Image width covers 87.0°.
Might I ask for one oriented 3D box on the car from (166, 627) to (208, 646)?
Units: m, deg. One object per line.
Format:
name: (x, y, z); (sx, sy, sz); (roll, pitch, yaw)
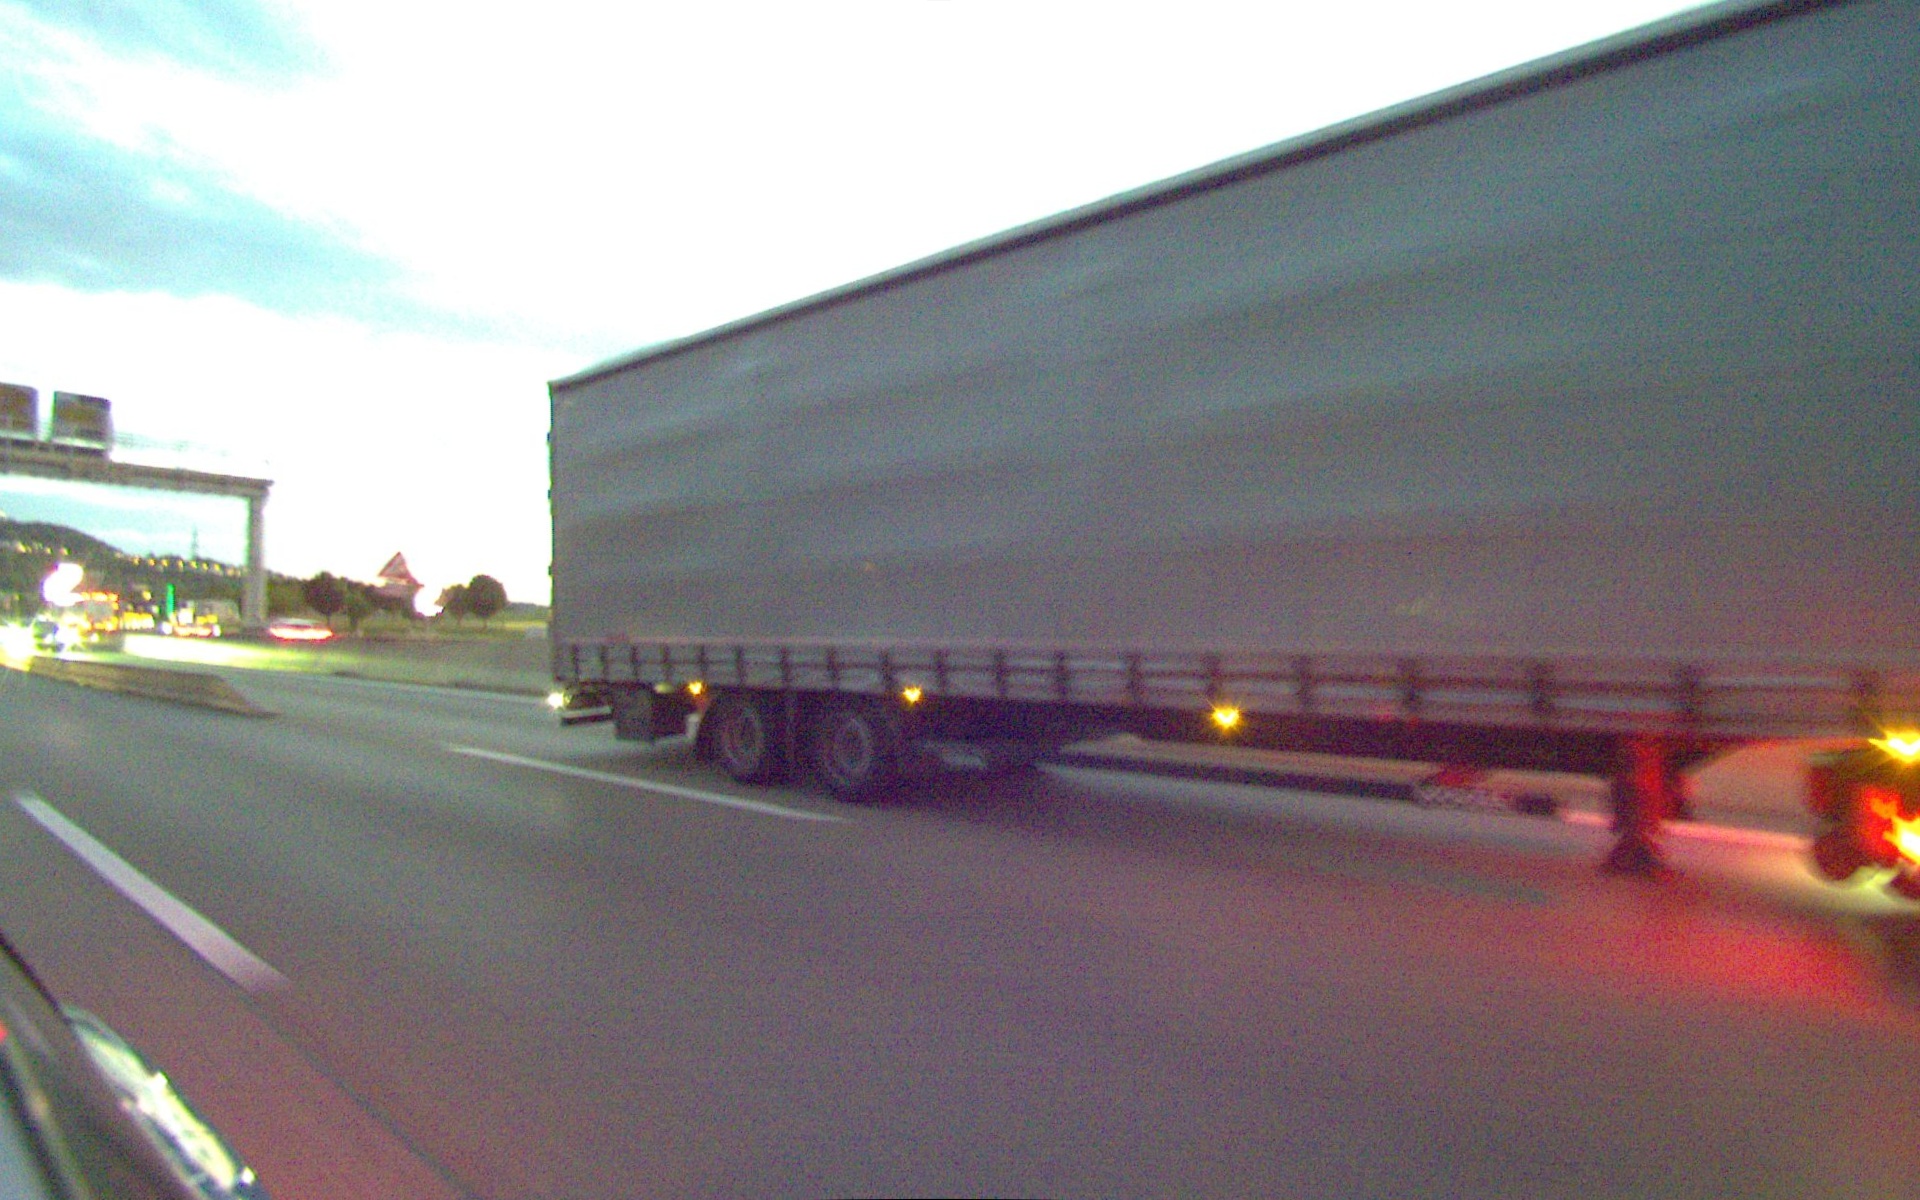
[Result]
car: (-56.857, 2.678, 74.449); (3.998, 1.298, 1.714); (-1, 0, 41)

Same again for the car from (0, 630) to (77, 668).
car: (-39.810, 2.069, 43.690); (5.391, 1.448, 1.796); (-1, -1, 40)

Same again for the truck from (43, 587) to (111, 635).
truck: (-110.345, 1.366, 126.425); (9.639, 5.834, 5.263); (-1, -1, 41)

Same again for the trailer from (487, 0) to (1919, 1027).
trailer: (1.089, -0.453, 7.580); (14.518, 4.116, 2.765); (-1, -2, 41)

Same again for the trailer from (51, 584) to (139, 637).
trailer: (-102.037, 1.235, 119.149); (19.204, 5.829, 5.249); (-1, -1, 41)

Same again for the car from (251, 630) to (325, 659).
car: (-30.639, 1.997, 46.136); (3.998, 1.213, 1.843); (-1, 0, 41)
